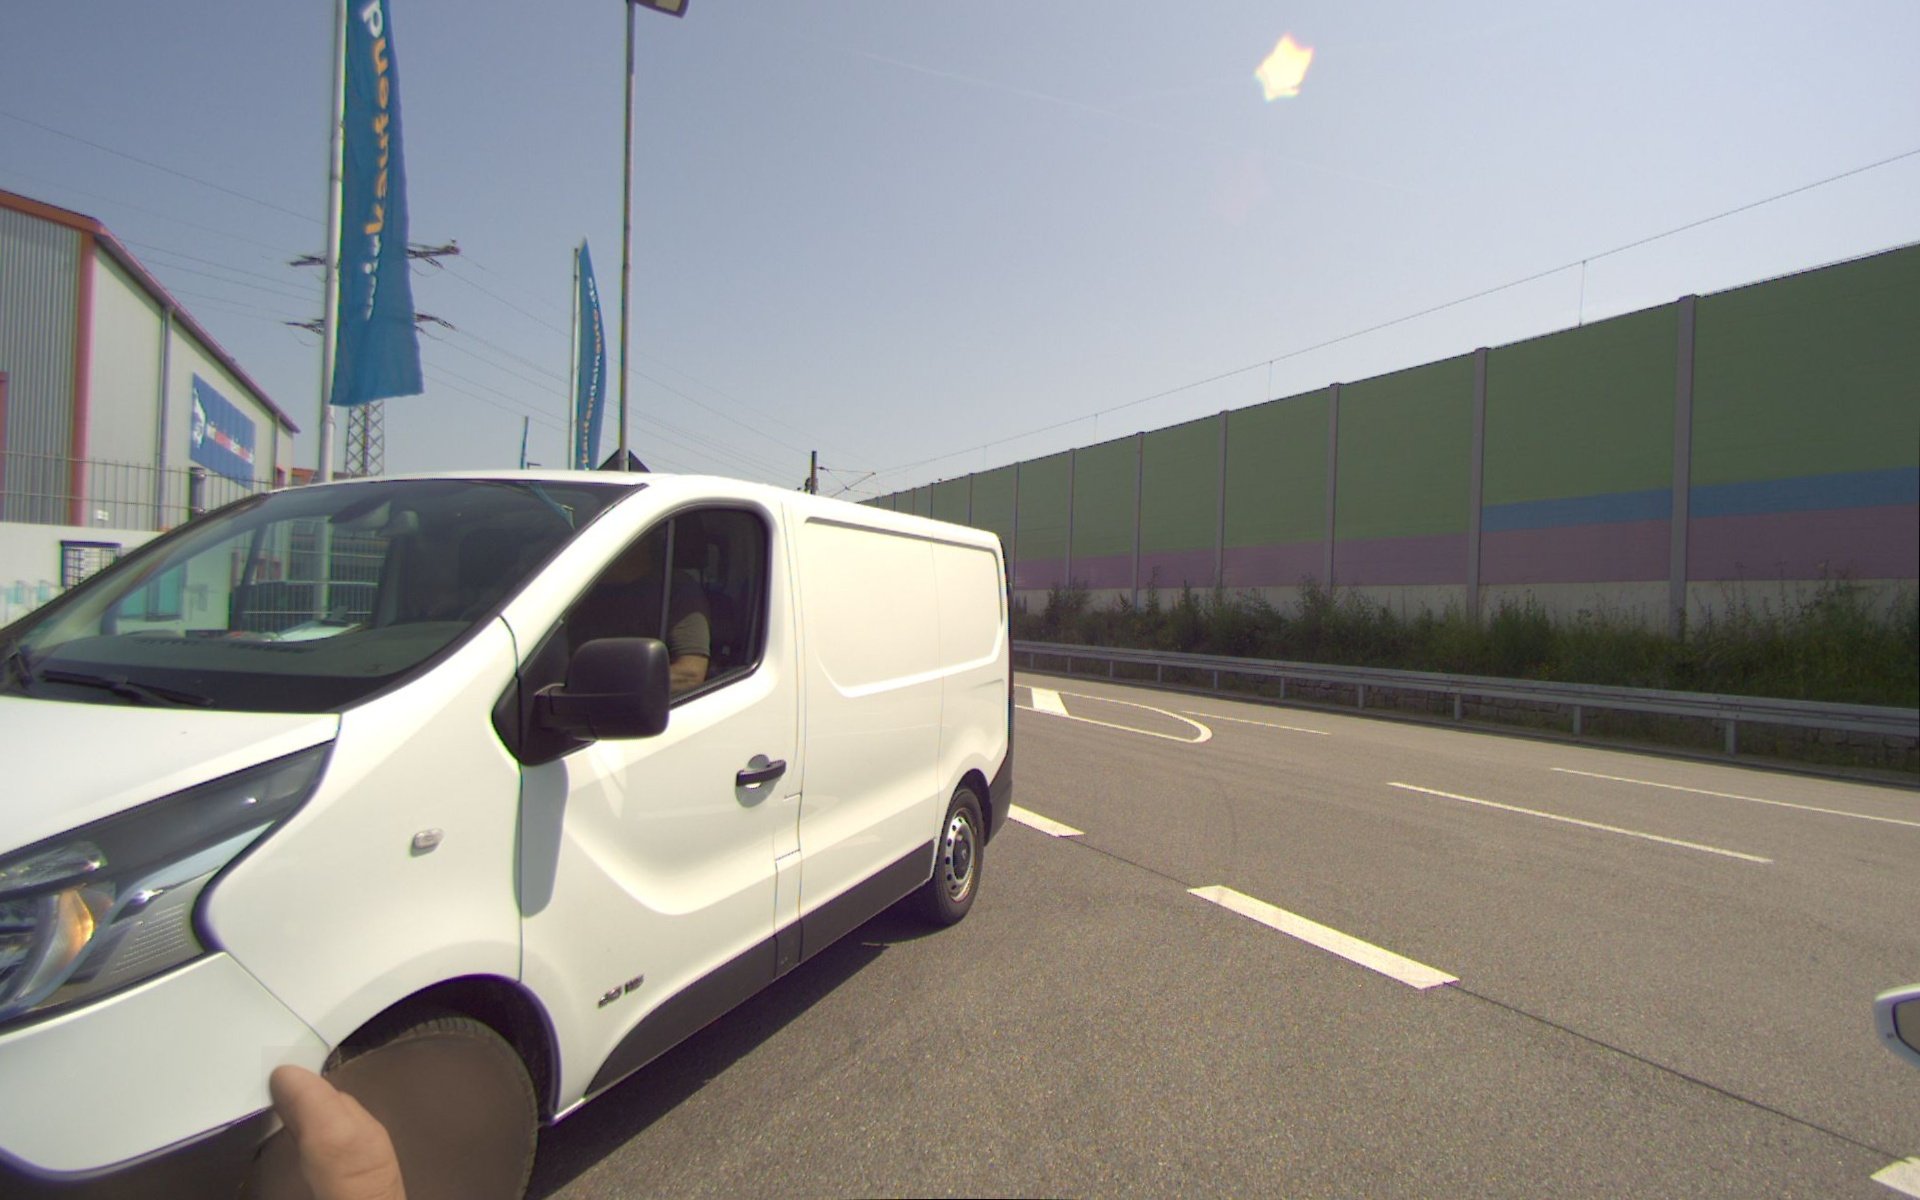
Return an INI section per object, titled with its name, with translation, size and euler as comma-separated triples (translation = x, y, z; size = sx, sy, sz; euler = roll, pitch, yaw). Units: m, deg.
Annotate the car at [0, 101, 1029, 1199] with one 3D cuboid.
[car]
translation = -1.351, 0.457, 3.819
size = 1.969, 2.088, 4.813
euler = 0, -1, 20
